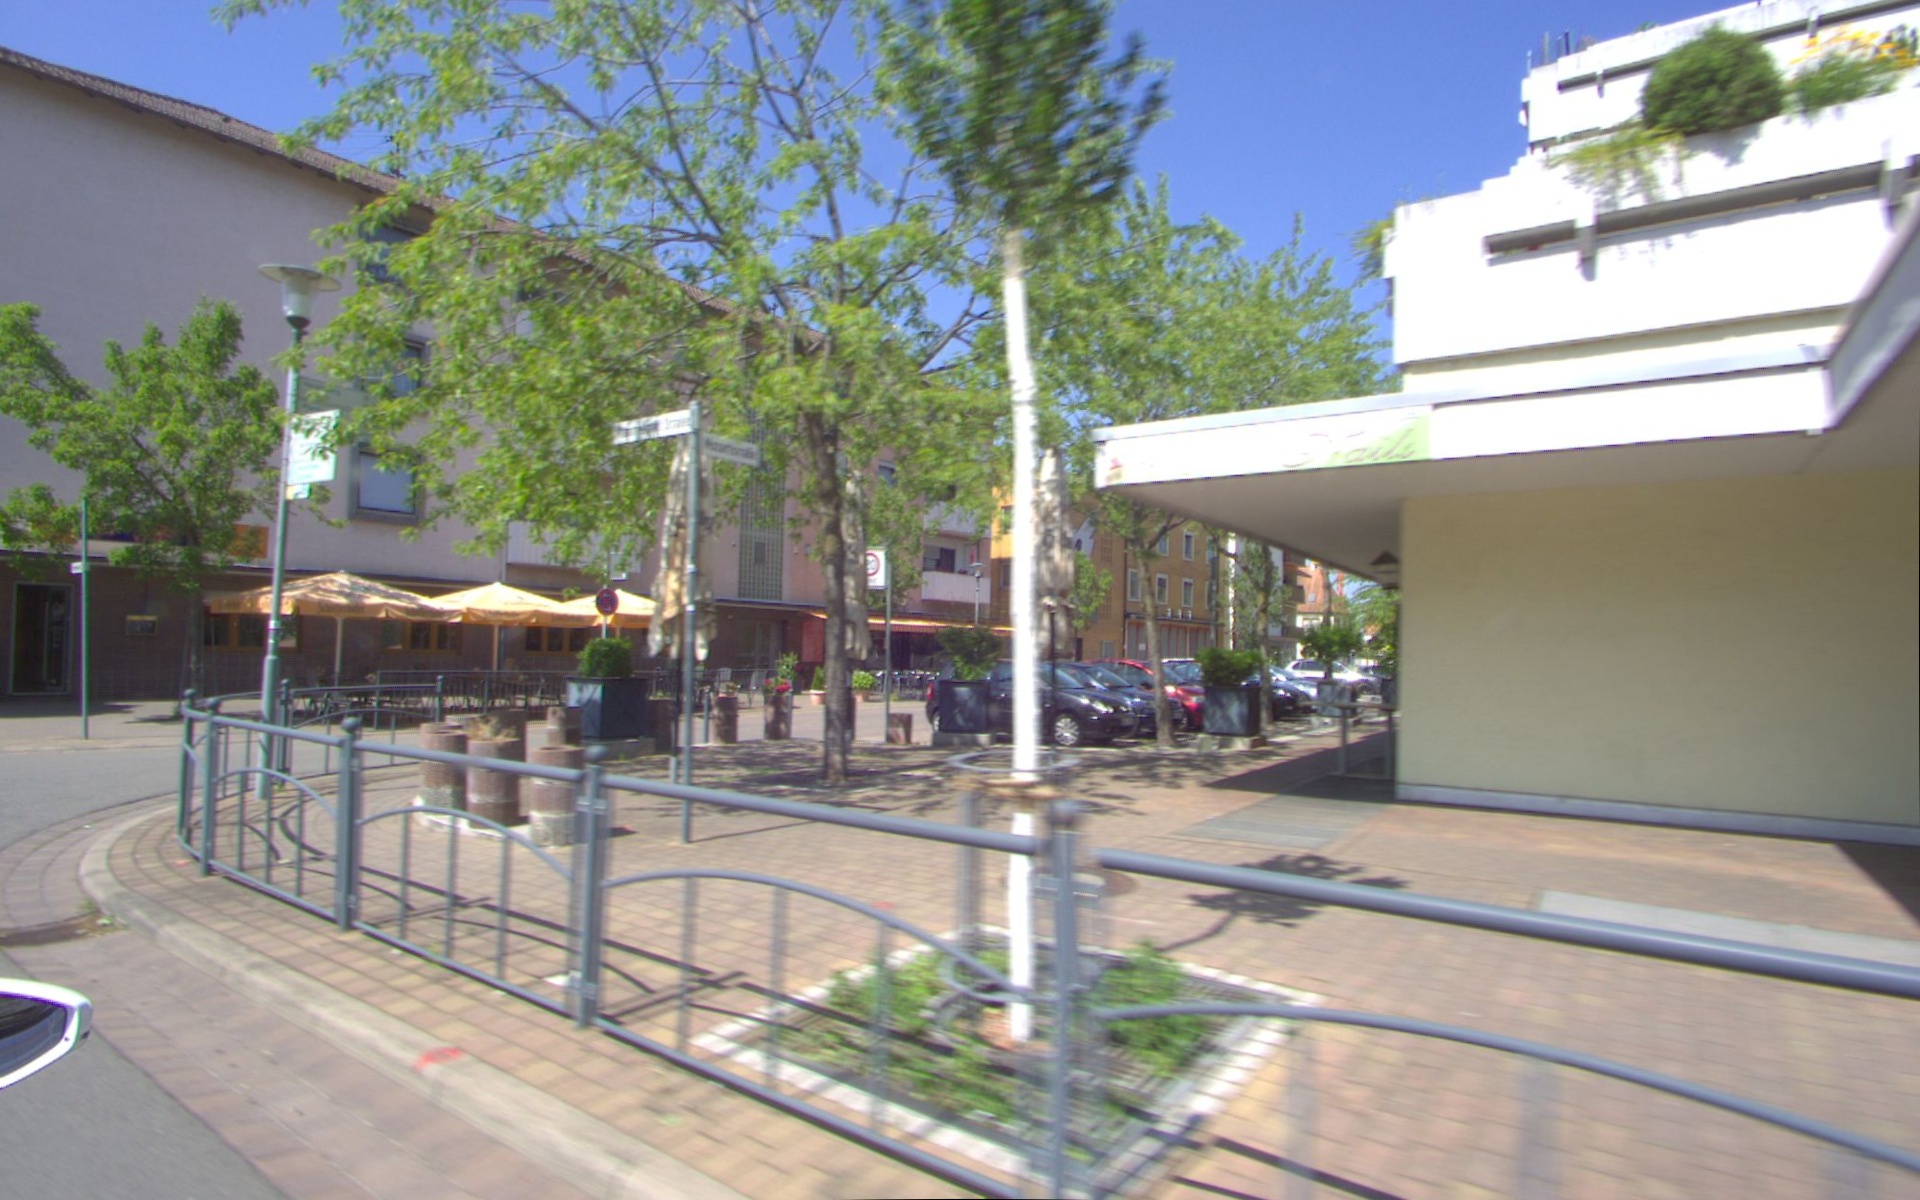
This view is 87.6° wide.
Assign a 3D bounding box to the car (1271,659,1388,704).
[{"bbox_3d":[14.905,3.263,40.449,4.197,1.635,1.551,0,-3,33],"label":"car"}]

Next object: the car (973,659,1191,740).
[{"bbox_3d":[2.426,1.949,20.306,4.053,1.449,1.775,-2,-3,33],"label":"car"}]

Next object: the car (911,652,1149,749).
[{"bbox_3d":[1.228,1.733,18.004,3.915,1.528,1.764,-1,-4,32],"label":"car"}]

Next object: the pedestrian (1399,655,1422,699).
[{"bbox_3d":[18.908,3.225,42.021,0.827,1.809,0.804,0,-1,27],"label":"pedestrian"}]

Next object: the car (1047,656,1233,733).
[{"bbox_3d":[3.977,2.038,22.257,3.684,1.553,1.757,-2,-4,34],"label":"car"}]

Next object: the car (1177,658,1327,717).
[{"bbox_3d":[9.015,2.660,31.032,4.111,1.594,1.749,0,-2,35],"label":"car"}]

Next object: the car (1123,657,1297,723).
[{"bbox_3d":[6.671,2.347,26.789,4.133,1.560,1.939,0,-3,30],"label":"car"}]
